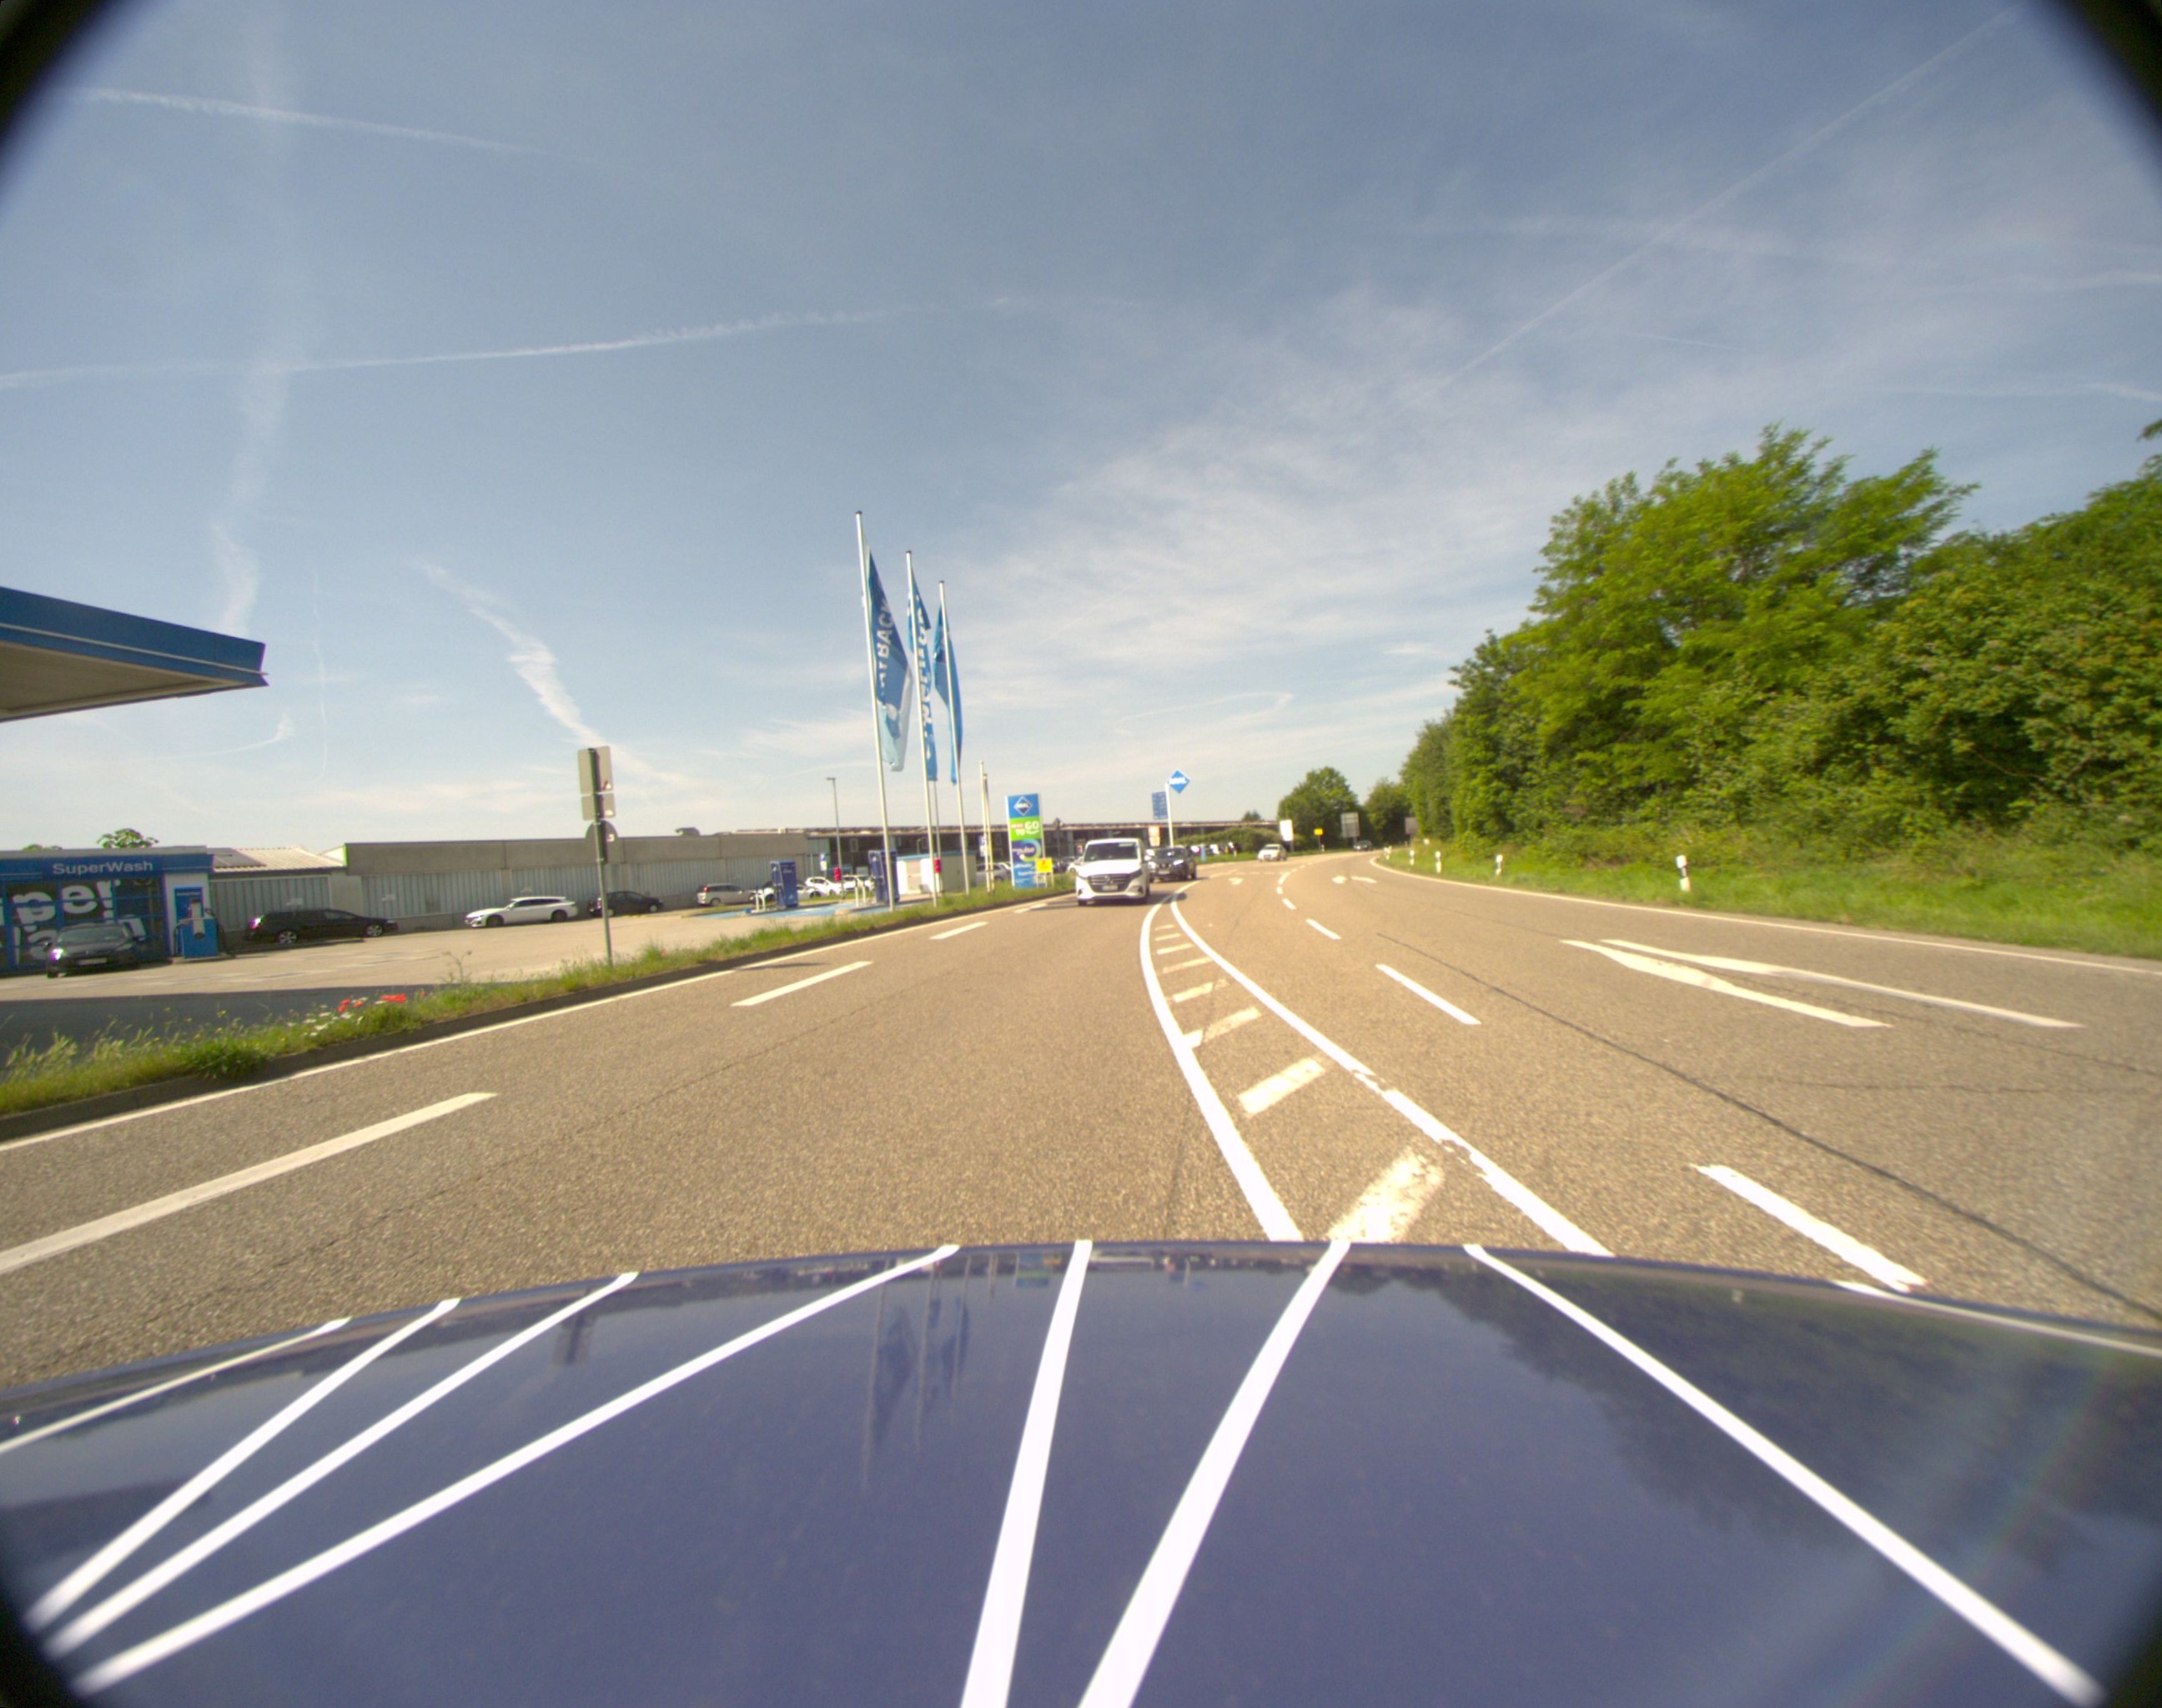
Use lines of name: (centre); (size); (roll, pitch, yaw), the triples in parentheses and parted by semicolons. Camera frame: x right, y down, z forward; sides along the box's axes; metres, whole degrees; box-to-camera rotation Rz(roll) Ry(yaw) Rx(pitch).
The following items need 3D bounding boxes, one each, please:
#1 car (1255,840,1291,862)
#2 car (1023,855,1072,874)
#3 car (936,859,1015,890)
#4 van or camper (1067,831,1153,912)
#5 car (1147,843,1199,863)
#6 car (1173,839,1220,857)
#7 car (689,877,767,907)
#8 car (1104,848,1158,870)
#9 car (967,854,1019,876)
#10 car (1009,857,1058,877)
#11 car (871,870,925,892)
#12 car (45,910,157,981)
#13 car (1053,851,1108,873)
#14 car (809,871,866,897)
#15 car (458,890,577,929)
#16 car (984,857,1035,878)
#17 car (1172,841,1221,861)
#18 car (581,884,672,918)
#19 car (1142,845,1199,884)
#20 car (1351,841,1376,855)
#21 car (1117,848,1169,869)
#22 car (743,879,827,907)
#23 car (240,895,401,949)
car: (16.621, -0.302, 65.606); (1.864, 1.631, 4.428); (-4, 0, 28)
car: (-3.186, 1.014, 72.168); (4.454, 1.628, 1.826); (-4, -1, 39)
car: (-7.477, 1.423, 53.621); (5.244, 1.820, 1.998); (-4, 0, -14)
van or camper: (1.006, 0.445, 22.557); (1.997, 2.002, 5.292); (-4, 0, 7)
car: (8.426, -0.070, 69.502); (4.247, 1.628, 1.826); (-4, -1, 33)
car: (11.659, -0.608, 76.804); (4.247, 1.628, 1.826); (-4, -1, 33)
car: (-22.671, 2.425, 48.906); (1.885, 1.595, 4.028); (-3, 0, 41)
car: (4.354, 0.428, 66.171); (4.247, 1.628, 1.826); (-4, -1, 33)
car: (-7.752, 0.959, 66.383); (4.454, 1.628, 1.826); (-4, -1, 39)
car: (-4.425, 1.180, 70.407); (4.454, 1.628, 1.826); (-4, -1, 39)
car: (-13.952, 2.050, 57.731); (4.035, 1.449, 1.826); (-4, -1, 39)
car: (-30.043, 2.728, 23.366); (4.161, 1.815, 1.894); (-4, 1, 38)
car: (-0.057, 0.648, 63.329); (4.247, 1.628, 1.826); (-4, -1, 33)
car: (-17.046, 2.089, 53.060); (4.011, 1.595, 1.894); (-4, 1, 41)
car: (-29.313, 2.859, 39.647); (1.885, 1.595, 4.538); (-3, 0, 35)
car: (-6.401, 1.240, 68.101); (4.454, 1.628, 1.826); (-4, -1, 39)
car: (11.186, -0.292, 73.757); (4.247, 1.628, 1.826); (-4, -1, 33)
car: (-26.411, 2.693, 44.254); (1.885, 1.595, 4.028); (-3, 0, 37)
car: (4.154, 0.443, 34.759); (1.819, 1.532, 3.731); (-4, 0, 18)
car: (38.536, -0.790, 103.664); (1.864, 1.632, 4.429); (-3, 0, 39)
car: (5.567, 0.401, 68.561); (4.247, 1.628, 1.826); (-4, -1, 33)
car: (-17.259, 2.267, 44.423); (4.133, 1.245, 1.694); (-4, 0, -42)
car: (-33.575, 2.962, 33.707); (1.885, 1.815, 4.663); (-3, 0, 33)
